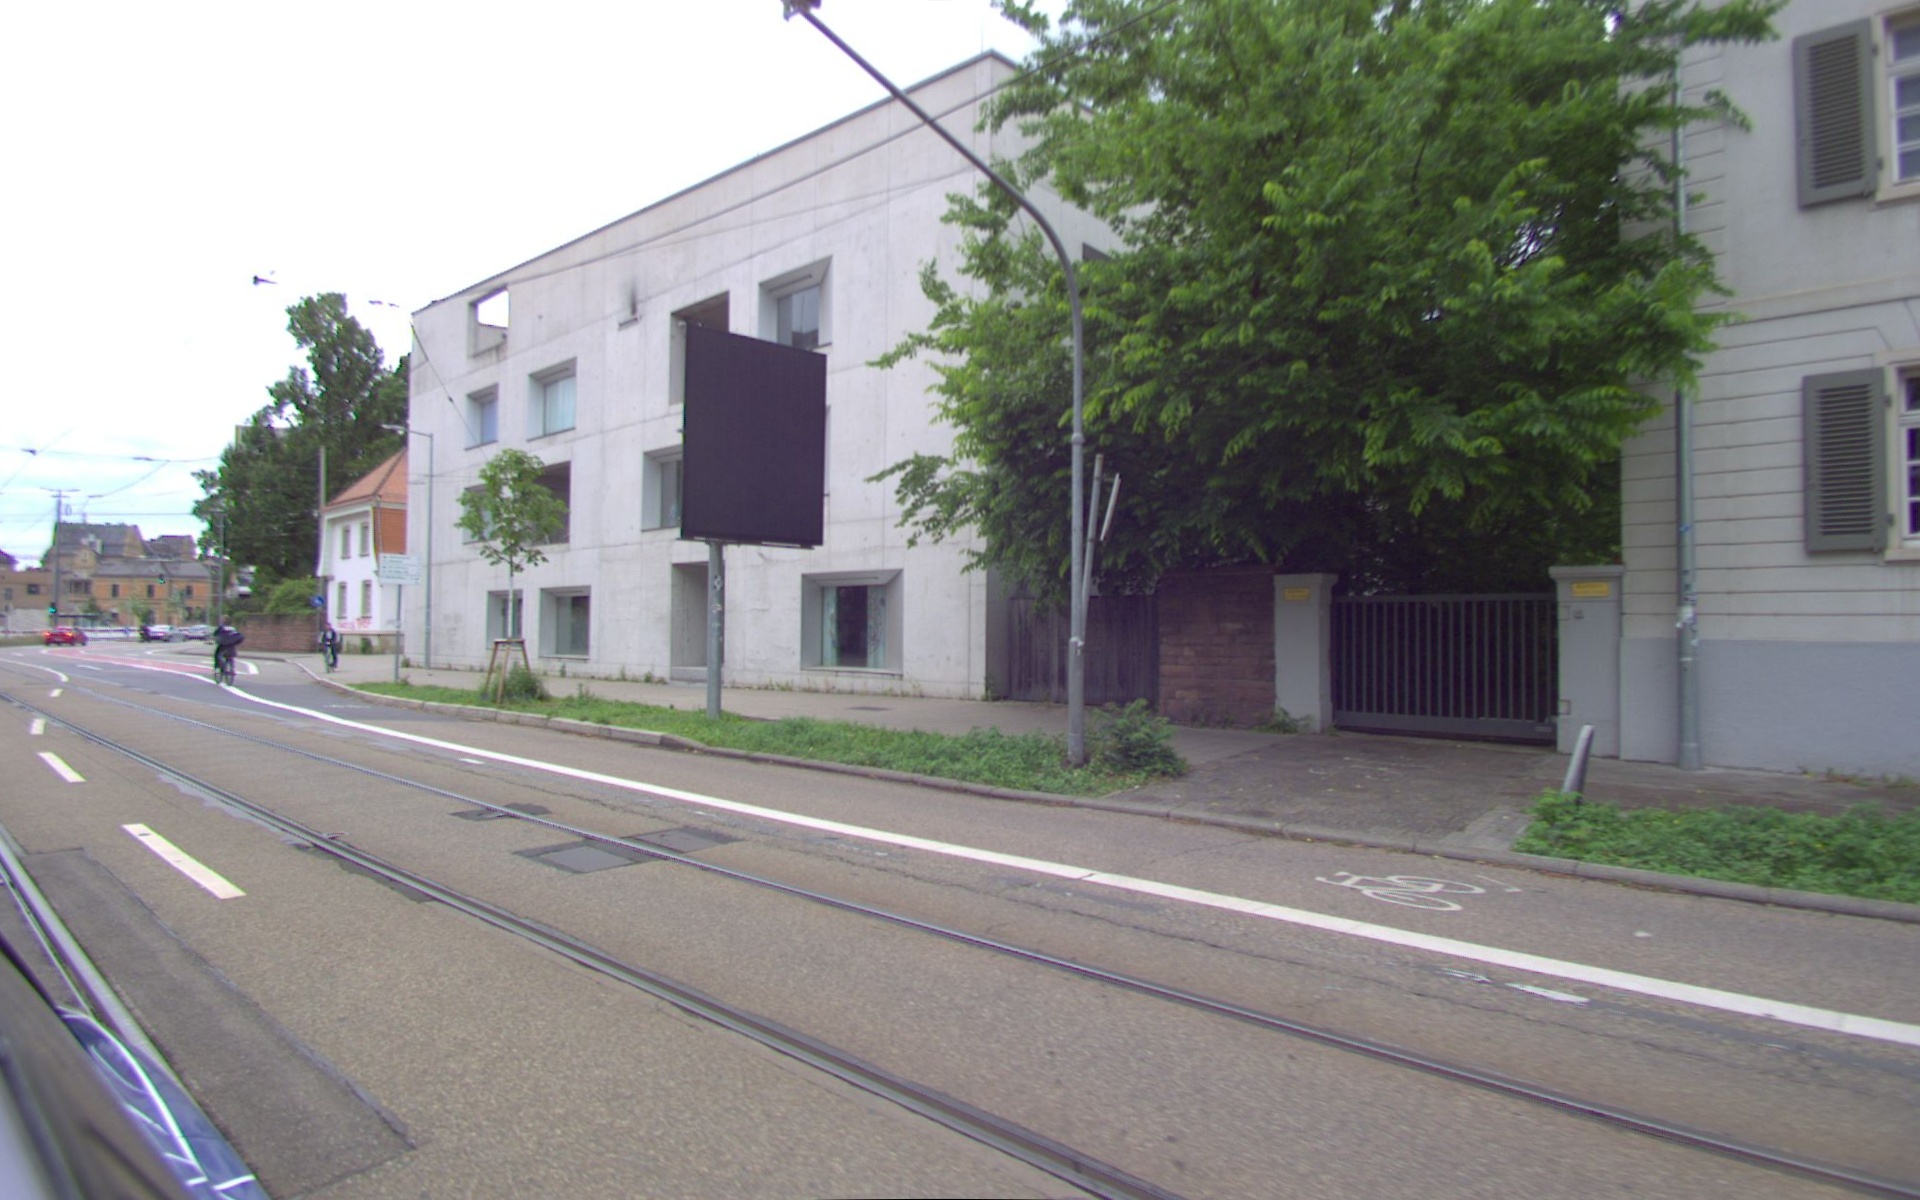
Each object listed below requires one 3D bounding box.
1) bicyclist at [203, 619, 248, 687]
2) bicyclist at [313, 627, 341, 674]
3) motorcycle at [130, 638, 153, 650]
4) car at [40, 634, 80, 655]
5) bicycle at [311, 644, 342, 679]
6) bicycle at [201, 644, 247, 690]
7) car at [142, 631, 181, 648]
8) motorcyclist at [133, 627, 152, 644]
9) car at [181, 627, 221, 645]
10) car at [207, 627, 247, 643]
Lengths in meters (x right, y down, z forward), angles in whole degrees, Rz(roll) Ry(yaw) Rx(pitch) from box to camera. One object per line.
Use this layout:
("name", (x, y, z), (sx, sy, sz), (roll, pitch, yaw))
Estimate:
("bicyclist", (-19.931, 1.438, 27.449), (0.781, 1.797, 1.149), (6, -5, -40))
("bicyclist", (-23.408, 1.868, 37.418), (0.764, 1.703, 0.870), (2, -3, -38))
("motorcycle", (-70.774, 3.793, 87.489), (1.038, 1.077, 2.656), (1, -2, -28))
("car", (-67.356, 3.297, 75.795), (1.732, 1.511, 4.010), (3, -3, -35))
("bicycle", (-23.409, 2.258, 37.389), (0.764, 1.221, 1.872), (2, -3, -38))
("bicycle", (-19.998, 1.801, 27.483), (0.781, 1.195, 2.013), (6, -5, -40))
("car", (-72.146, 3.559, 91.509), (1.469, 1.520, 3.479), (1, -2, -15))
("motorcyclist", (-70.990, 3.079, 87.870), (1.058, 1.497, 1.255), (1, -2, -29))
("car", (-74.015, 3.482, 98.727), (1.658, 1.663, 3.991), (0, -2, -14))
("car", (-75.454, 3.624, 104.224), (1.757, 1.623, 4.335), (0, -2, -14))
